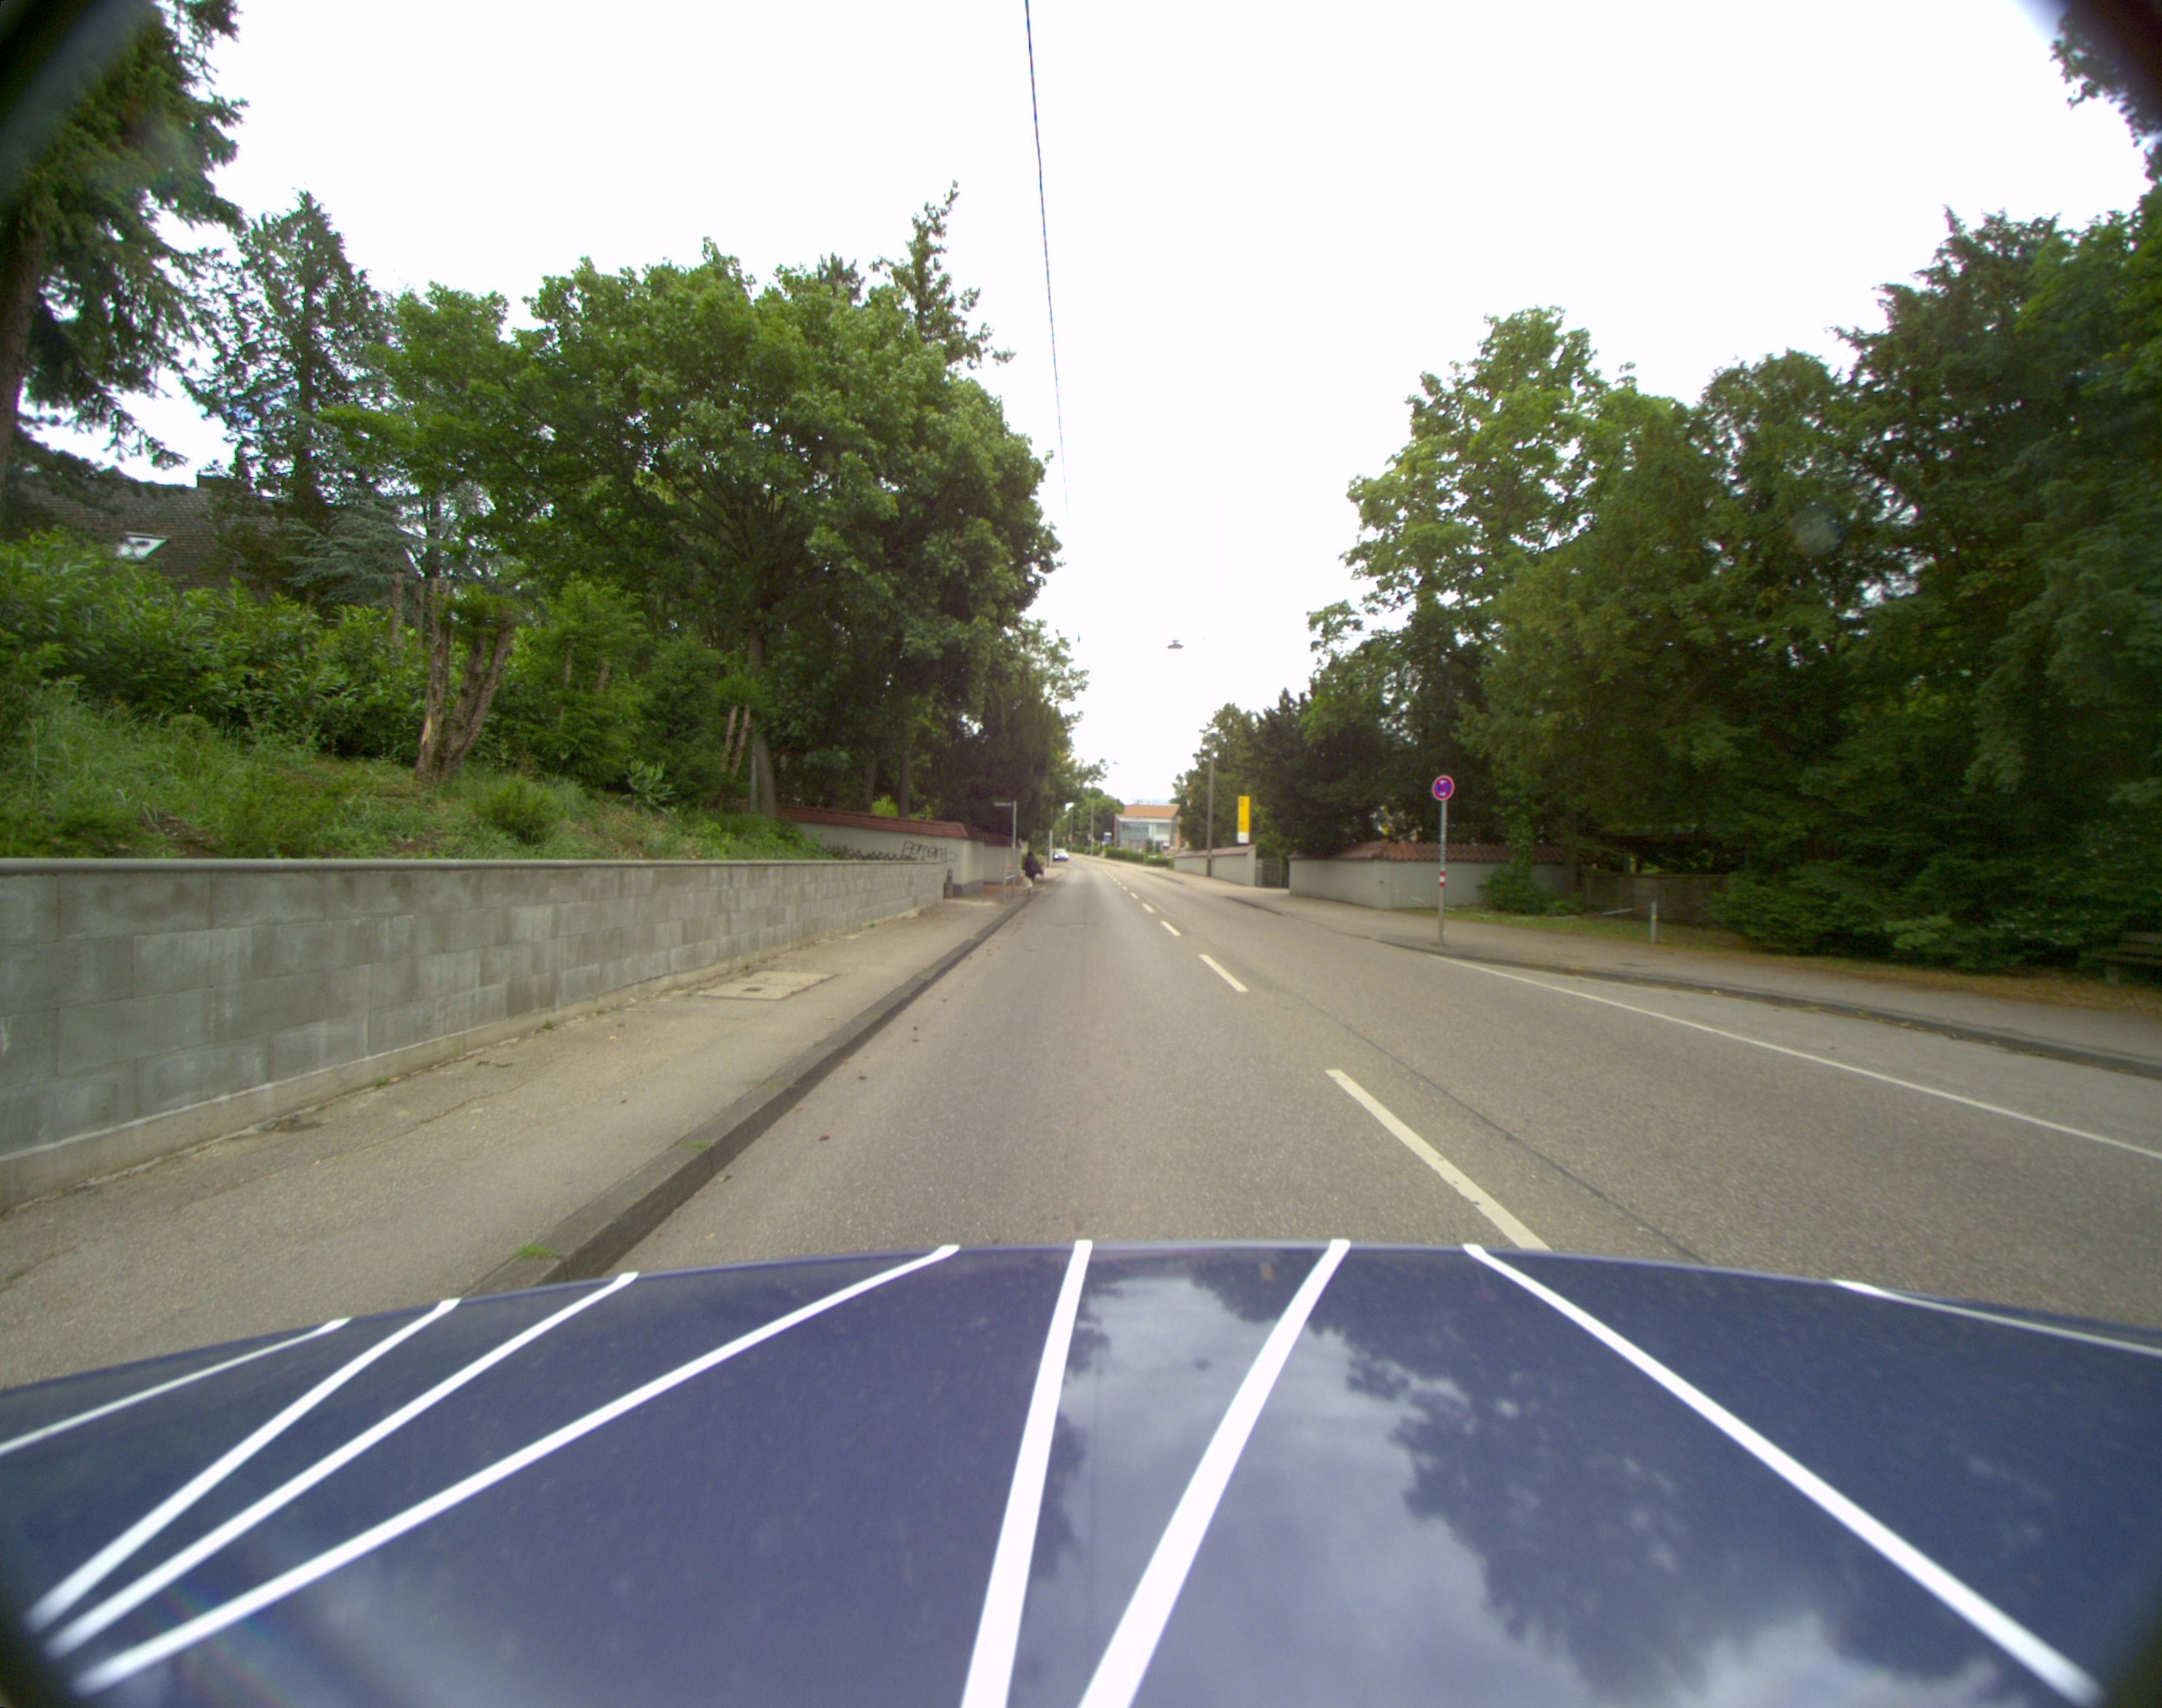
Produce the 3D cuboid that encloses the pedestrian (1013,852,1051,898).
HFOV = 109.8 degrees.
[{"bbox_3d":[-1.675,0.707,26.031,0.900,1.551,0.930,1,1,38],"label":"pedestrian"}]

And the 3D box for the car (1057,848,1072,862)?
[{"bbox_3d":[-2.240,0.087,103.939,1.886,1.893,4.000,1,0,1],"label":"car"}]
